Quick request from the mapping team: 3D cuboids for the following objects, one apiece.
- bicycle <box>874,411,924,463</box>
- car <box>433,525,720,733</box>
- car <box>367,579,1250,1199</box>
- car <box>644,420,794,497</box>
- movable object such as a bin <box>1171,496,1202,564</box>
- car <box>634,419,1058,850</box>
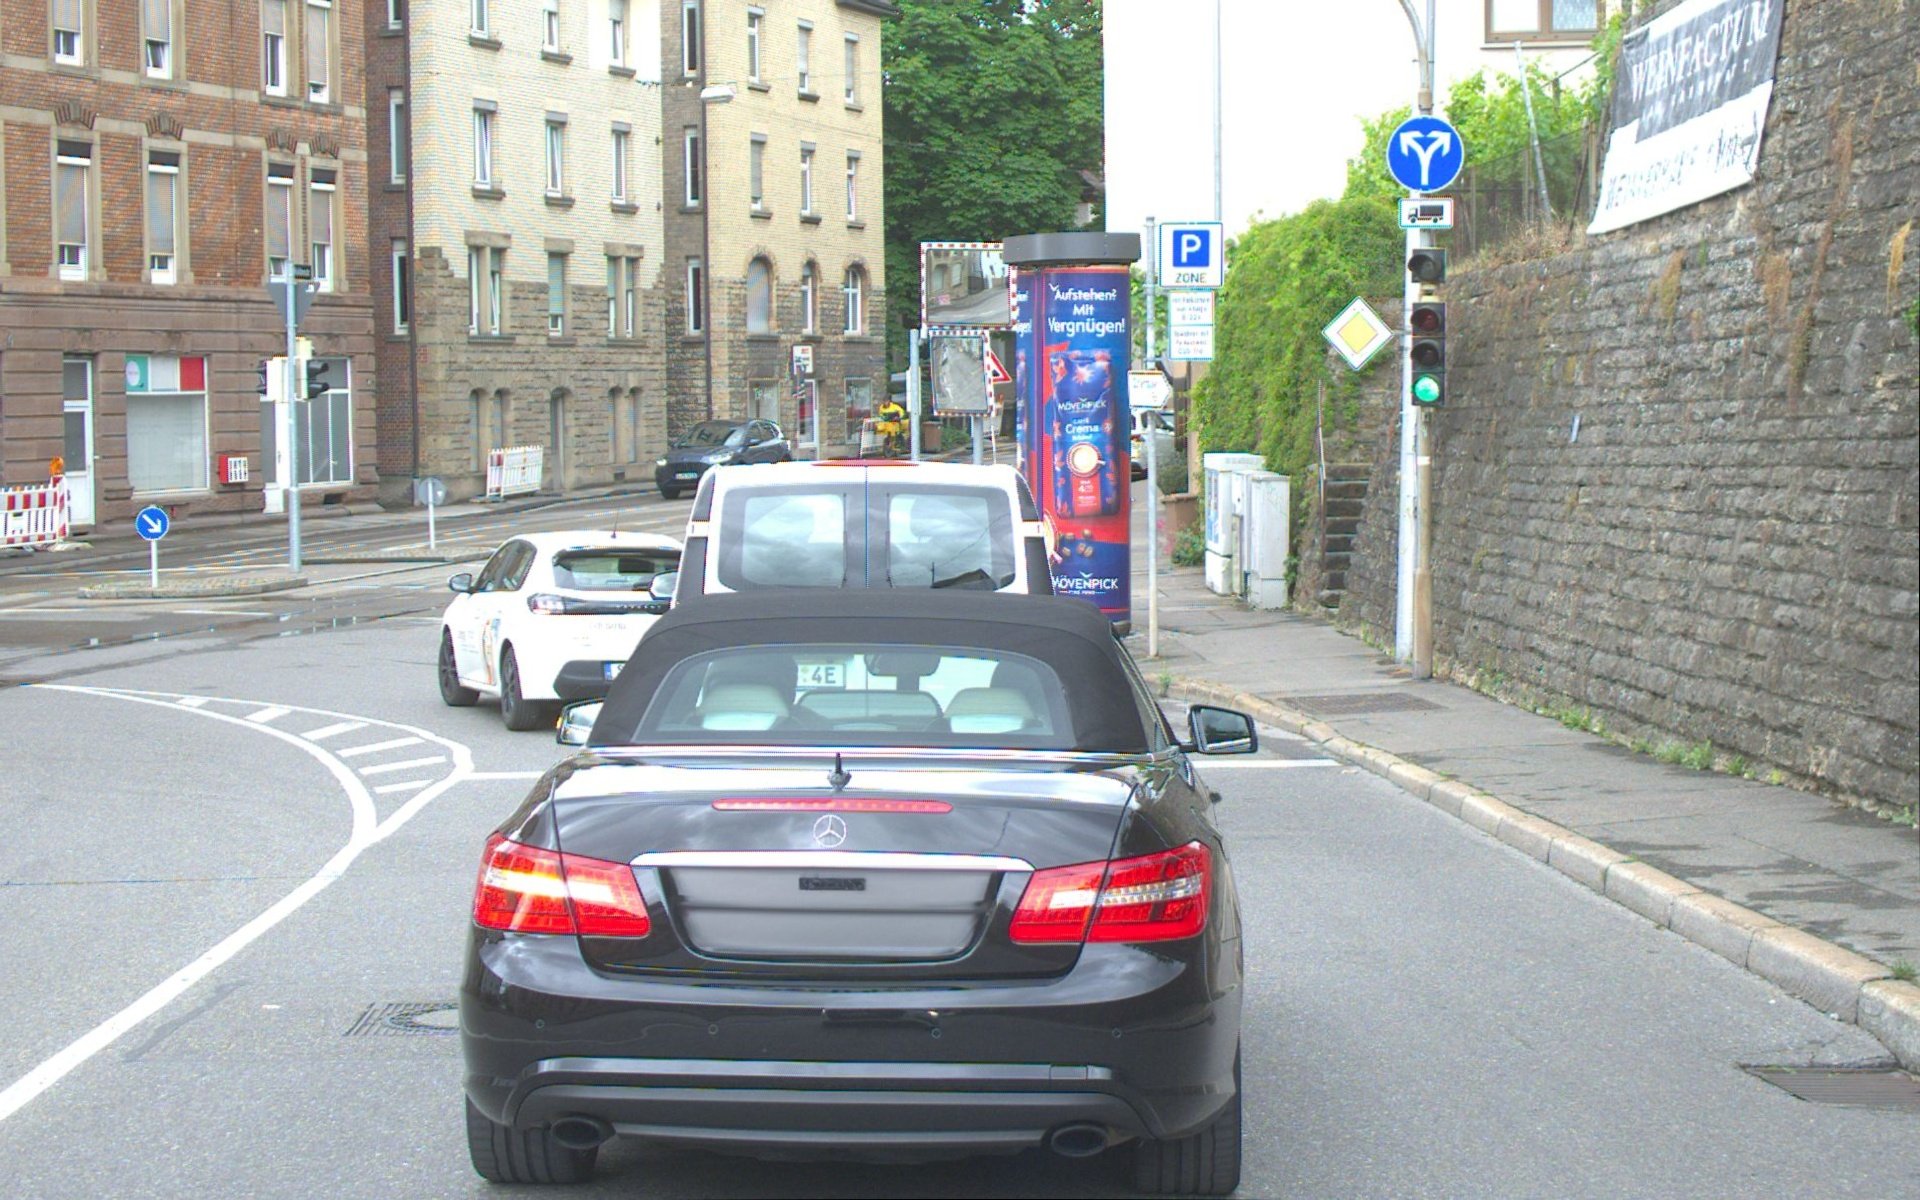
[{"bbox_3d":[-1.634,-4.425,93.170,0.632,1.302,2.598,-4,3,14],"label":"bicycle"},{"bbox_3d":[-3.037,0.174,26.588,1.680,1.461,3.920,-1,1,-14],"label":"car"},{"bbox_3d":[-0.323,0.689,9.121,1.761,1.404,4.399,-1,1,-1],"label":"car"},{"bbox_3d":[-5.298,-3.148,76.186,1.995,1.509,4.284,0,4,15],"label":"car"},{"bbox_3d":[3.034,-0.943,46.044,0.343,0.908,0.495,0,1,-6],"label":"movable object such as a bin"},{"bbox_3d":[-0.537,0.111,17.886,1.891,1.922,4.645,-1,1,0],"label":"car"}]
